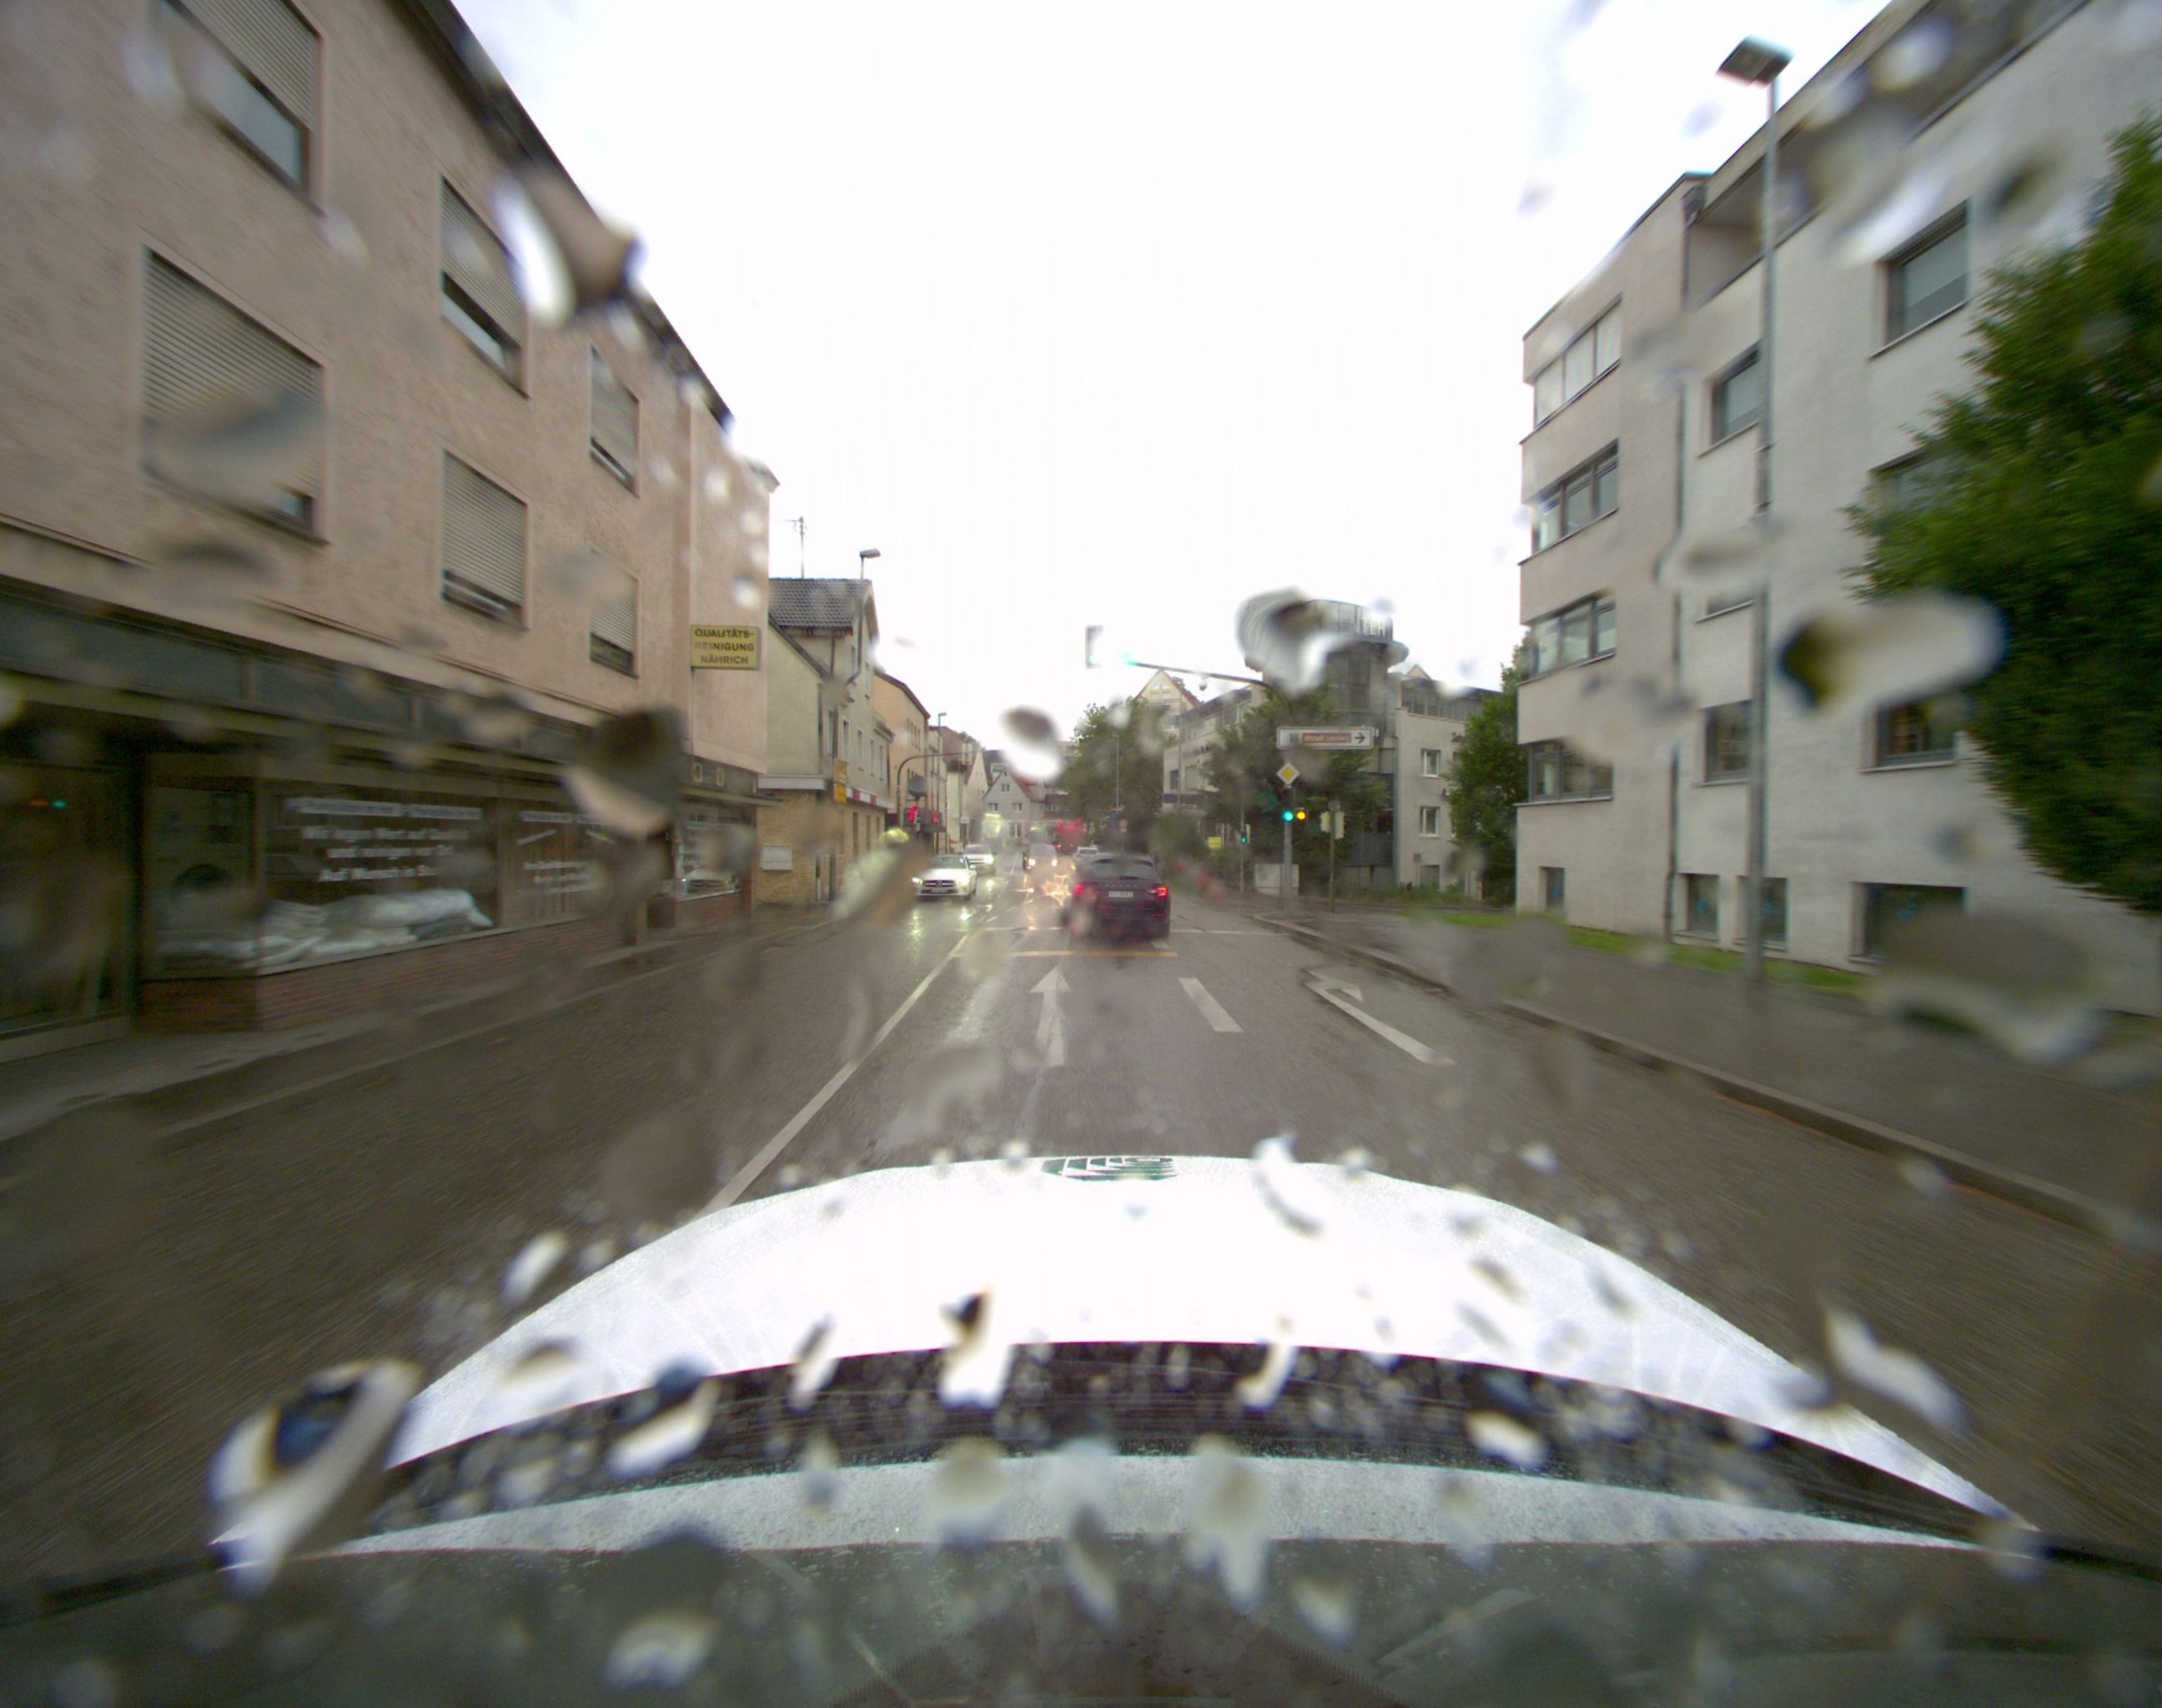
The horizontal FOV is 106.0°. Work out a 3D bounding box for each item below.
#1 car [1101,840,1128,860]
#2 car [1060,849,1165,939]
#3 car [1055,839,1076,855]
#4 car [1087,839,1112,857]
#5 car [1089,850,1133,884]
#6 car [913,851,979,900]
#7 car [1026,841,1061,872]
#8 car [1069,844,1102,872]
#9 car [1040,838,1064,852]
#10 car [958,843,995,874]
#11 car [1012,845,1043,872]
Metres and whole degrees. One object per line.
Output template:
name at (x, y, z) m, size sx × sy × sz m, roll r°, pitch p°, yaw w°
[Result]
car at (2.851, -0.362, 70.611) m, size 1.850 × 1.641 × 3.531 m, roll -1°, pitch 1°, yaw -6°
car at (0.537, 0.671, 16.010) m, size 1.776 × 1.483 × 4.245 m, roll 1°, pitch 1°, yaw 0°
car at (-1.651, -0.686, 84.550) m, size 1.890 × 1.590 × 3.682 m, roll -1°, pitch 0°, yaw -5°
car at (1.748, -0.596, 76.546) m, size 1.850 × 1.641 × 3.863 m, roll -1°, pitch 1°, yaw -6°
car at (1.271, 0.546, 35.676) m, size 1.811 × 1.359 × 3.991 m, roll 1°, pitch 1°, yaw 1°
car at (-4.345, 0.648, 26.731) m, size 1.687 × 1.372 × 4.108 m, roll -1°, pitch 1°, yaw -4°
car at (-2.129, 0.097, 45.105) m, size 1.781 × 1.562 × 4.395 m, roll 1°, pitch 1°, yaw -5°
car at (0.234, 0.270, 50.342) m, size 1.724 × 1.591 × 4.177 m, roll 2°, pitch -2°, yaw -4°
car at (-3.511, -1.097, 99.395) m, size 1.899 × 1.682 × 3.664 m, roll -1°, pitch 0°, yaw -19°
car at (-5.639, 0.183, 44.495) m, size 1.781 × 1.560 × 4.330 m, roll 0°, pitch 1°, yaw -5°
car at (-3.351, 0.251, 50.440) m, size 1.781 × 1.562 × 4.395 m, roll 1°, pitch 1°, yaw -5°
